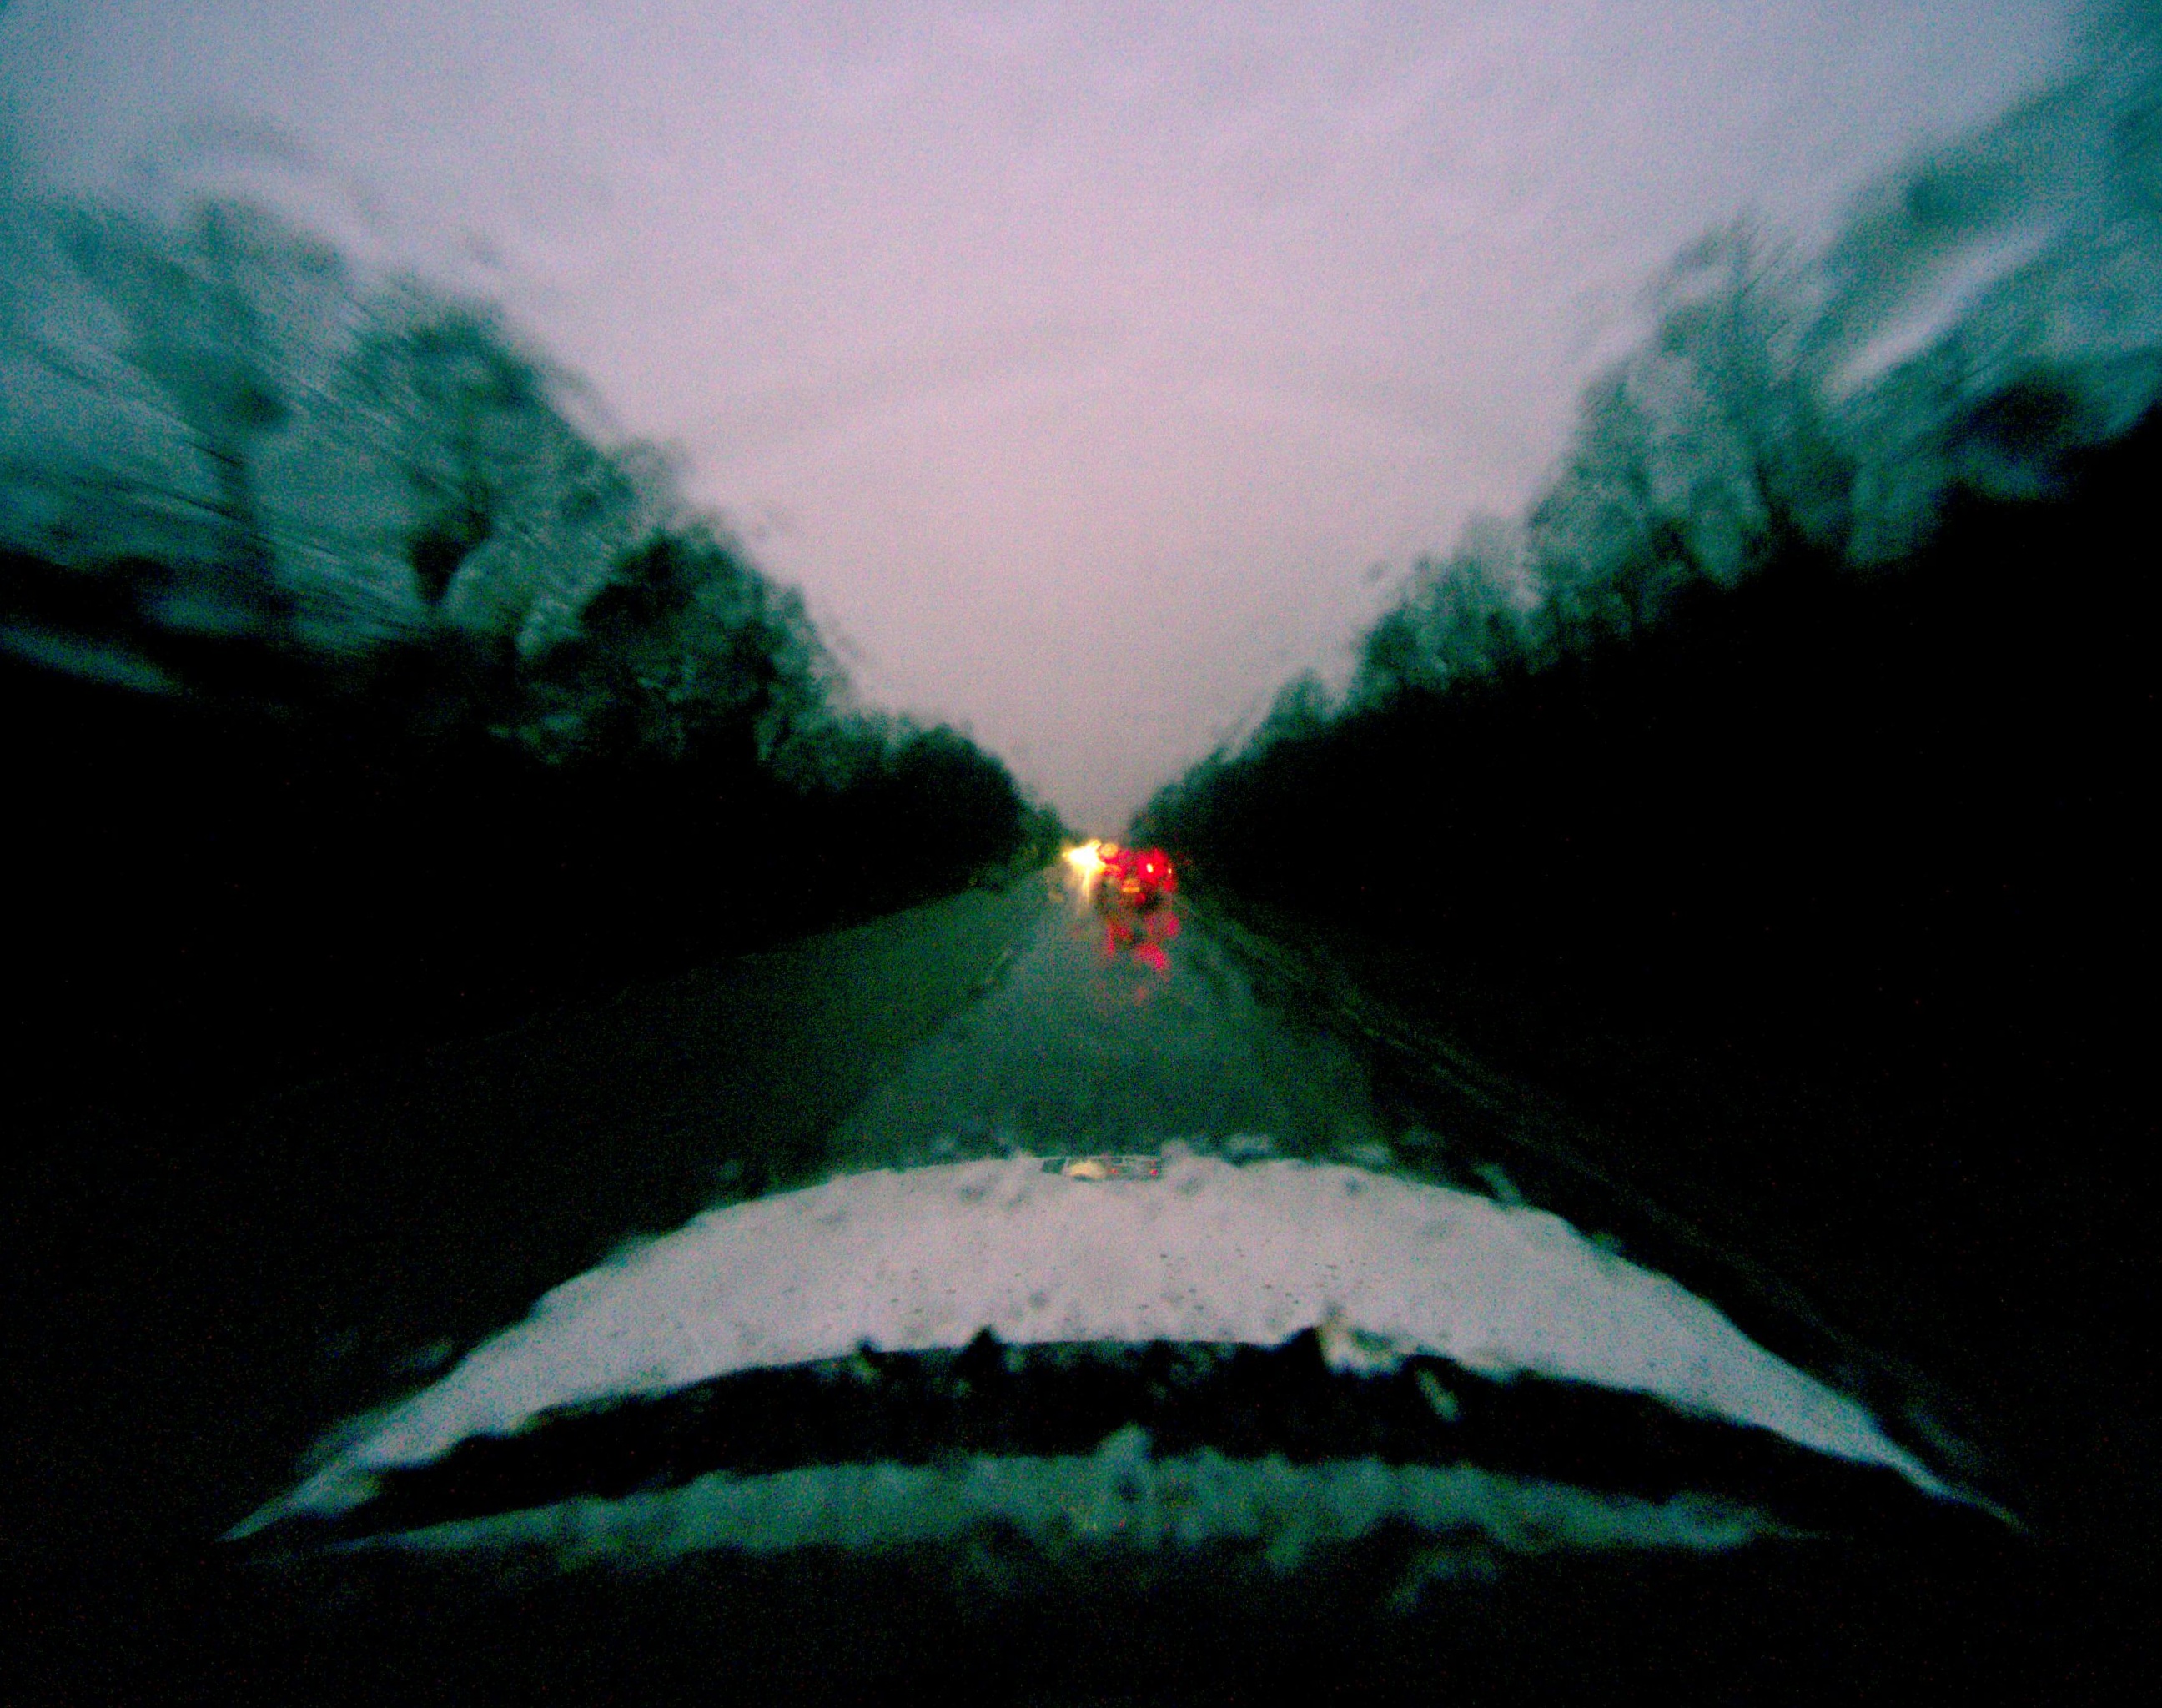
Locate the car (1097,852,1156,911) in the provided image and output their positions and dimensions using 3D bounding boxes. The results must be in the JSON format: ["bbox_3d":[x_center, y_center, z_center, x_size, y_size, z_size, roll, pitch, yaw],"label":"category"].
[{"bbox_3d":[1.395,0.783,24.913,1.641,1.672,3.517,-1,0,3],"label":"car"}]

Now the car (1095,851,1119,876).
[{"bbox_3d":[1.970,0.711,62.226,1.727,1.779,4.001,-1,0,1],"label":"car"}]
